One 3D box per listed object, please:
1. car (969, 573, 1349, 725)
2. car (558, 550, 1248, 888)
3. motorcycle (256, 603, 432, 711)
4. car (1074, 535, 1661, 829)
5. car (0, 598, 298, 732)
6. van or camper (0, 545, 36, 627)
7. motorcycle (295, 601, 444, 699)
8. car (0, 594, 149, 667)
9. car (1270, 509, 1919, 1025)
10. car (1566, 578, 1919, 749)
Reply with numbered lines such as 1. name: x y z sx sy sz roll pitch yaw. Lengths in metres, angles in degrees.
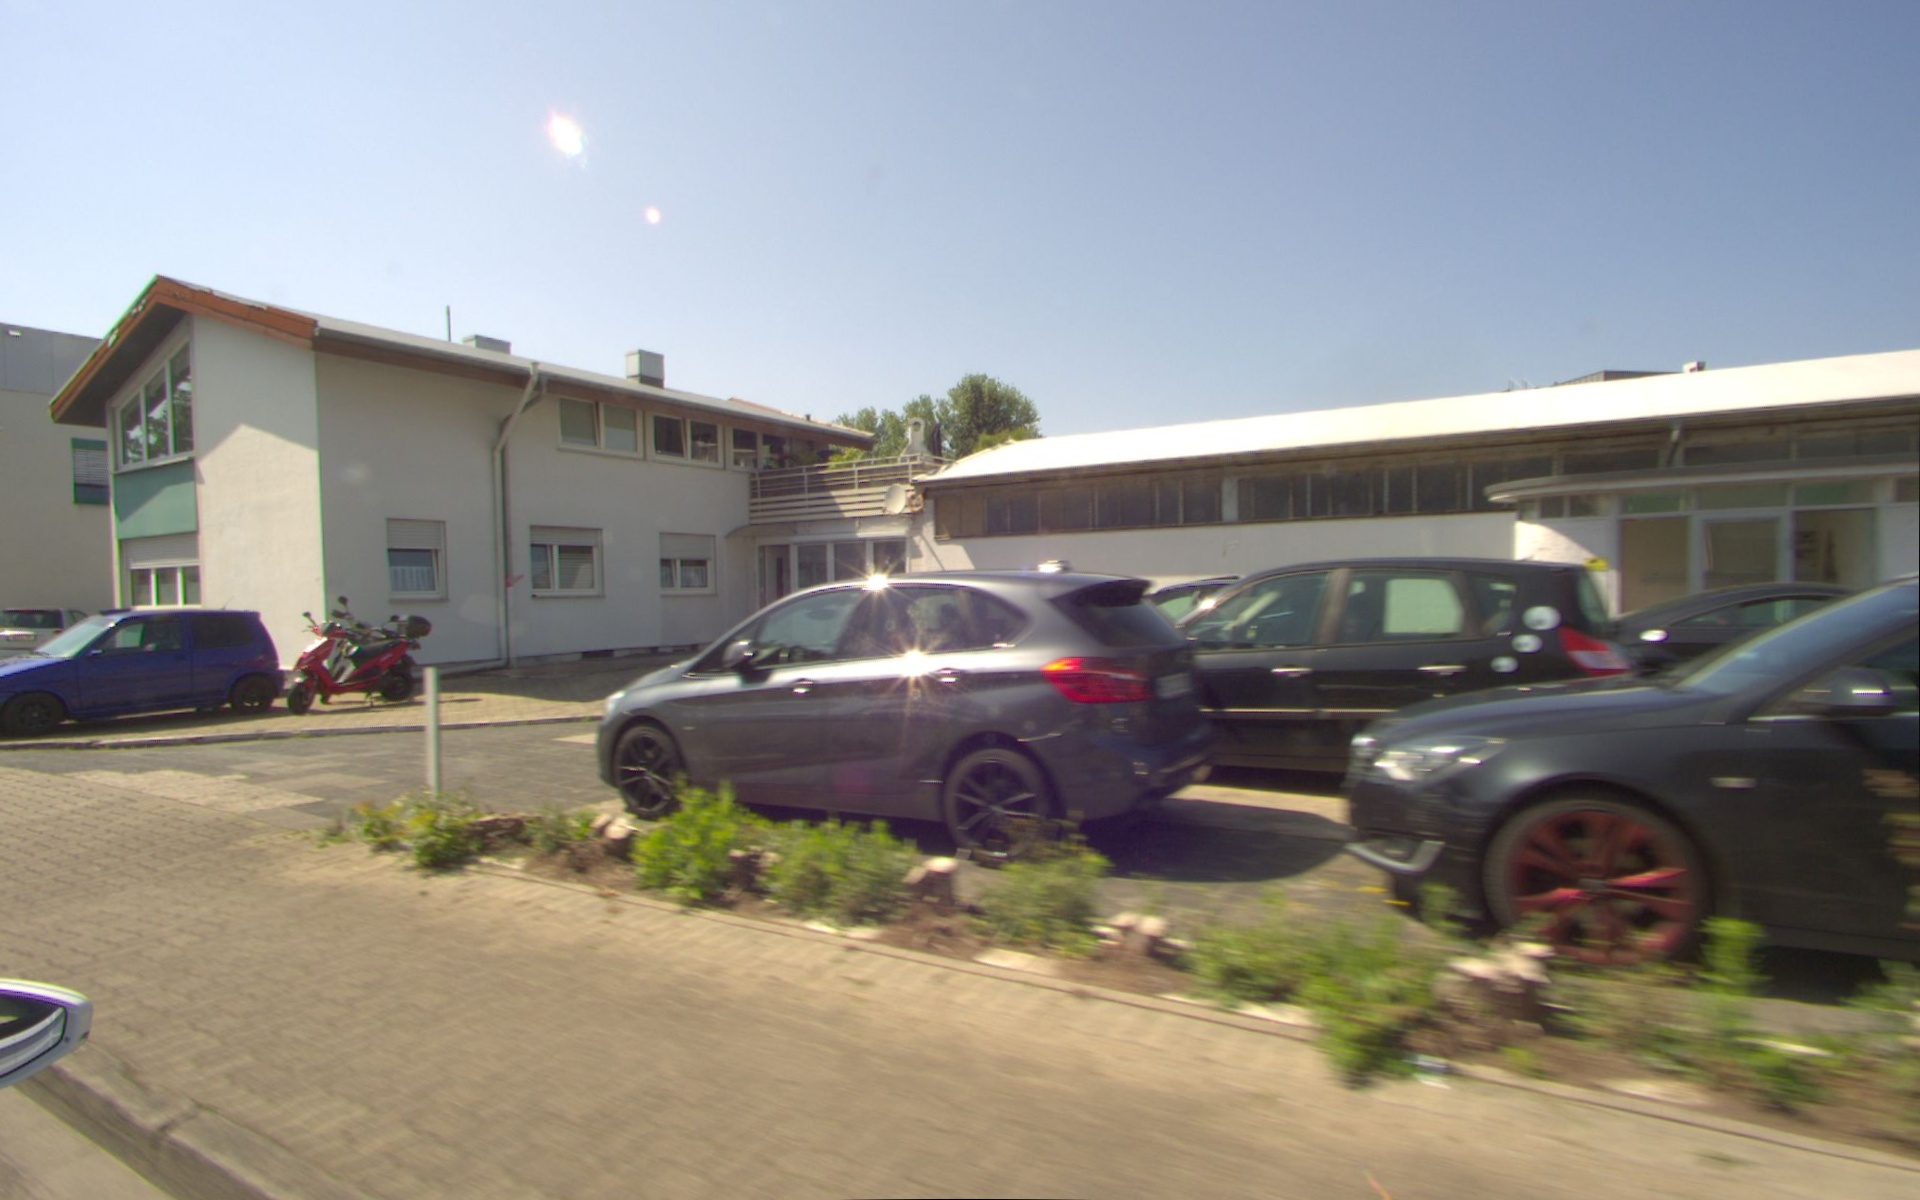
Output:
1. car: 2.330 0.510 11.689 4.078 1.516 1.760 -1 2 21
2. car: -0.478 0.558 6.549 4.230 1.579 1.808 0 1 31
3. motorcycle: -8.356 0.727 13.678 0.784 1.297 1.866 0 2 29
4. car: 2.825 0.490 7.217 3.568 1.615 1.756 0 -2 33
5. car: -10.489 0.714 12.565 1.649 1.417 3.245 0 1 32
6. van or camper: -40.456 -0.537 39.999 1.969 3.333 4.750 0 1 28
7. motorcycle: -8.737 0.705 14.900 0.783 1.297 1.749 -1 2 23
8. car: -21.593 0.677 24.199 1.747 1.561 3.695 -1 1 -16
9. car: 3.822 0.498 3.615 4.879 1.589 1.854 0 1 31
10. car: 7.677 0.492 8.714 4.045 1.342 1.637 -1 1 35
